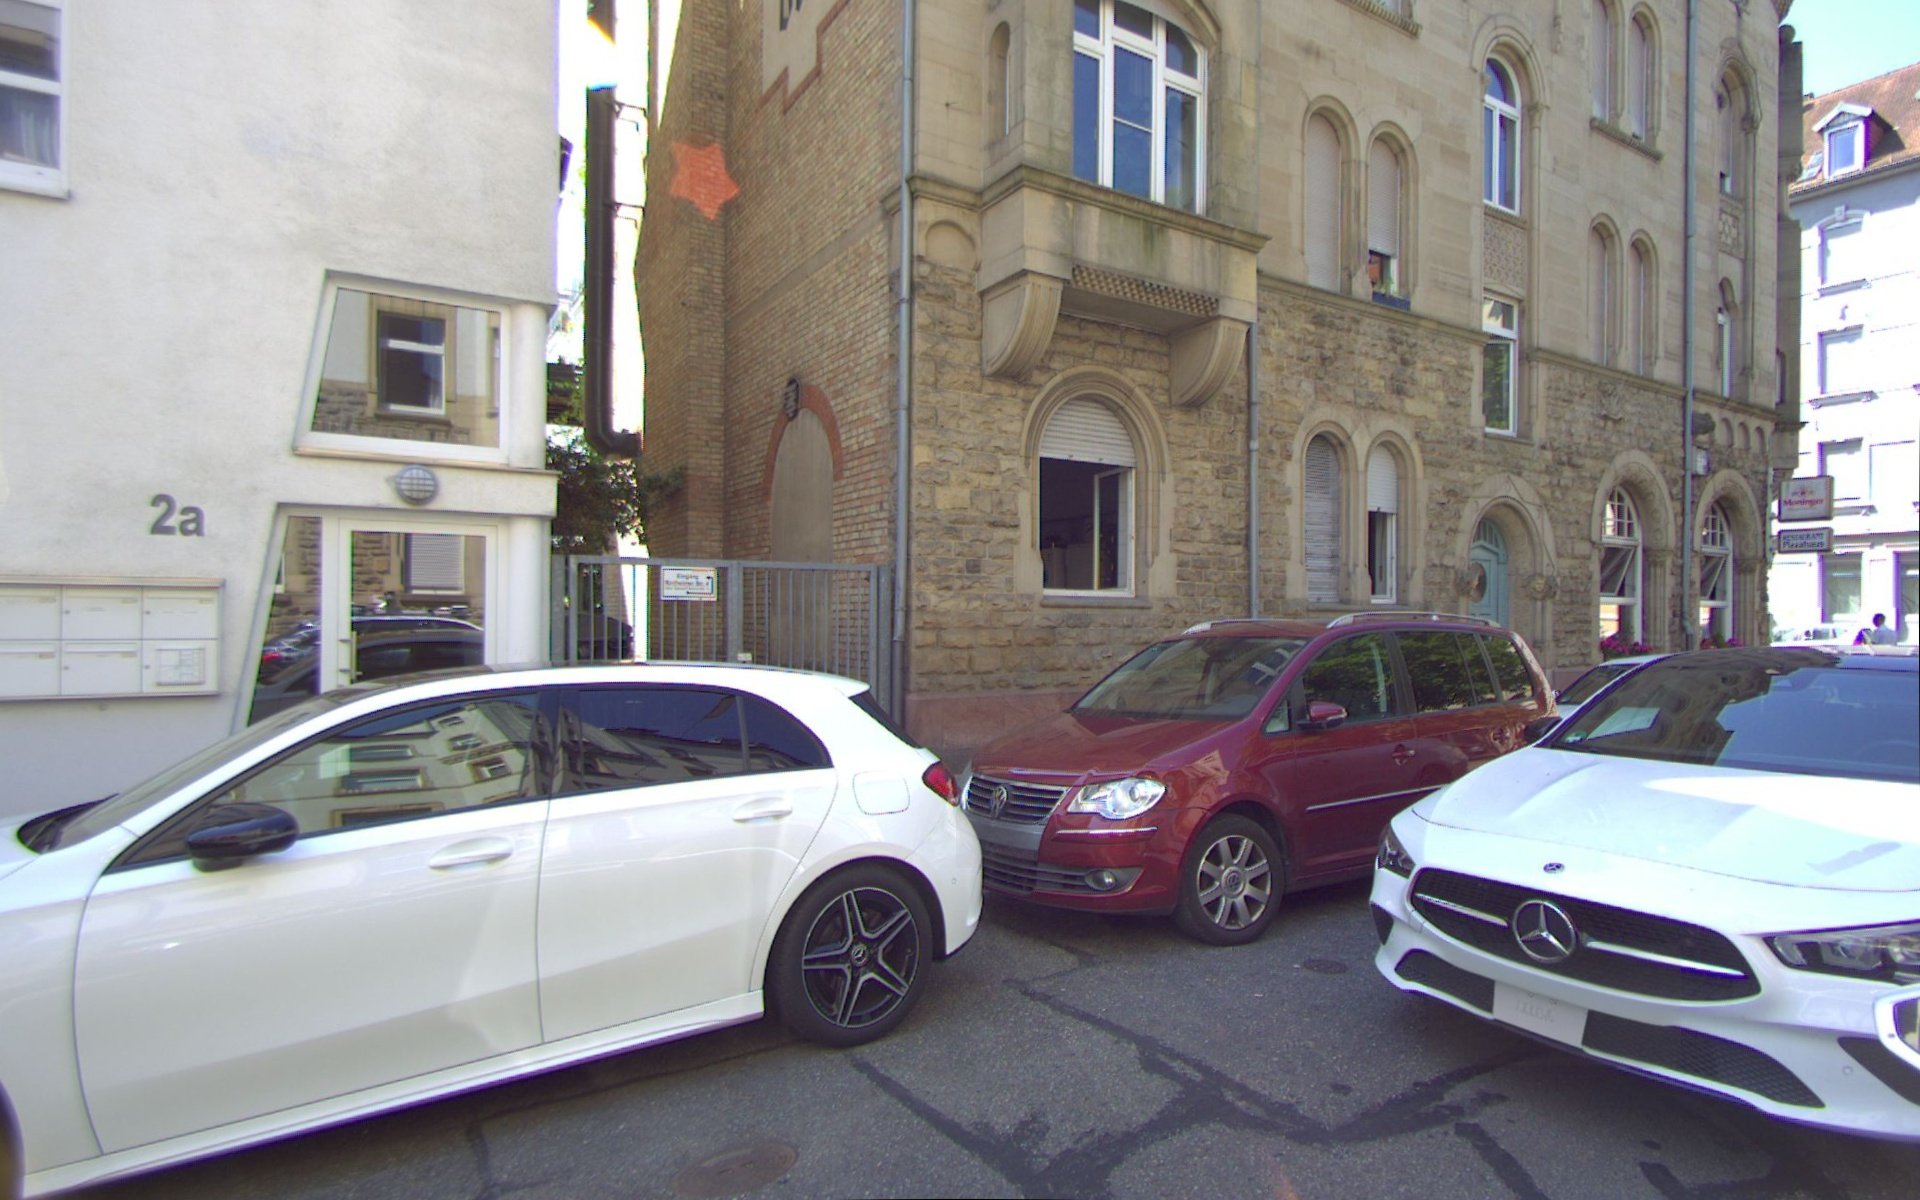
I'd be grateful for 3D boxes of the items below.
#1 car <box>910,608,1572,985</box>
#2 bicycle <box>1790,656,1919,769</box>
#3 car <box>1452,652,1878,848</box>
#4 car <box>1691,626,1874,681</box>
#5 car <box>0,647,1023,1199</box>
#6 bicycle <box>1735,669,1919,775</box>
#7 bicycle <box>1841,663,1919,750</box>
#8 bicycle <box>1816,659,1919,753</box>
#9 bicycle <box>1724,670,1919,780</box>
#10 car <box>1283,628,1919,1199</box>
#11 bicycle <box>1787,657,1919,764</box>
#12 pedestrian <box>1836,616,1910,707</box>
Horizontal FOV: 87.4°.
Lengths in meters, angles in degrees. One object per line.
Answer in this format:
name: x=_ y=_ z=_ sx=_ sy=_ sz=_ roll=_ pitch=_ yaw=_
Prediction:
car: x=1.835 y=0.926 z=6.117 sx=4.010 sy=1.603 sz=1.663 roll=2 pitch=-3 yaw=-33
bicycle: x=10.713 y=1.300 z=11.366 sx=0.391 sy=1.145 sz=1.958 roll=1 pitch=2 yaw=-35
car: x=6.544 y=1.179 z=9.164 sx=4.469 sy=1.370 sz=1.691 roll=2 pitch=-4 yaw=-34
car: x=25.298 y=1.597 z=31.034 sx=1.787 sy=1.582 sz=4.025 roll=1 pitch=-2 yaw=-32
car: x=-1.987 y=0.925 z=3.616 sx=4.234 sy=1.479 sz=1.766 roll=2 pitch=-4 yaw=-34
bicycle: x=9.804 y=1.333 z=11.280 sx=0.289 sy=1.114 sz=1.692 roll=1 pitch=-4 yaw=-35
bicycle: x=12.077 y=1.356 z=12.563 sx=0.363 sy=1.021 sz=1.515 roll=1 pitch=1 yaw=-35
bicycle: x=11.697 y=1.322 z=12.358 sx=0.410 sy=1.059 sz=1.693 roll=1 pitch=1 yaw=-35
bicycle: x=9.532 y=1.339 z=11.102 sx=0.289 sy=1.114 sz=1.692 roll=1 pitch=-4 yaw=-35
car: x=3.523 y=0.894 z=4.131 sx=4.314 sy=1.480 sz=1.832 roll=1 pitch=-3 yaw=-32
bicycle: x=10.986 y=1.301 z=11.741 sx=0.432 sy=1.145 sz=1.982 roll=1 pitch=0 yaw=-35
pedestrian: x=17.382 y=1.152 z=19.123 sx=0.765 sy=1.694 sz=0.853 roll=1 pitch=-2 yaw=-31
